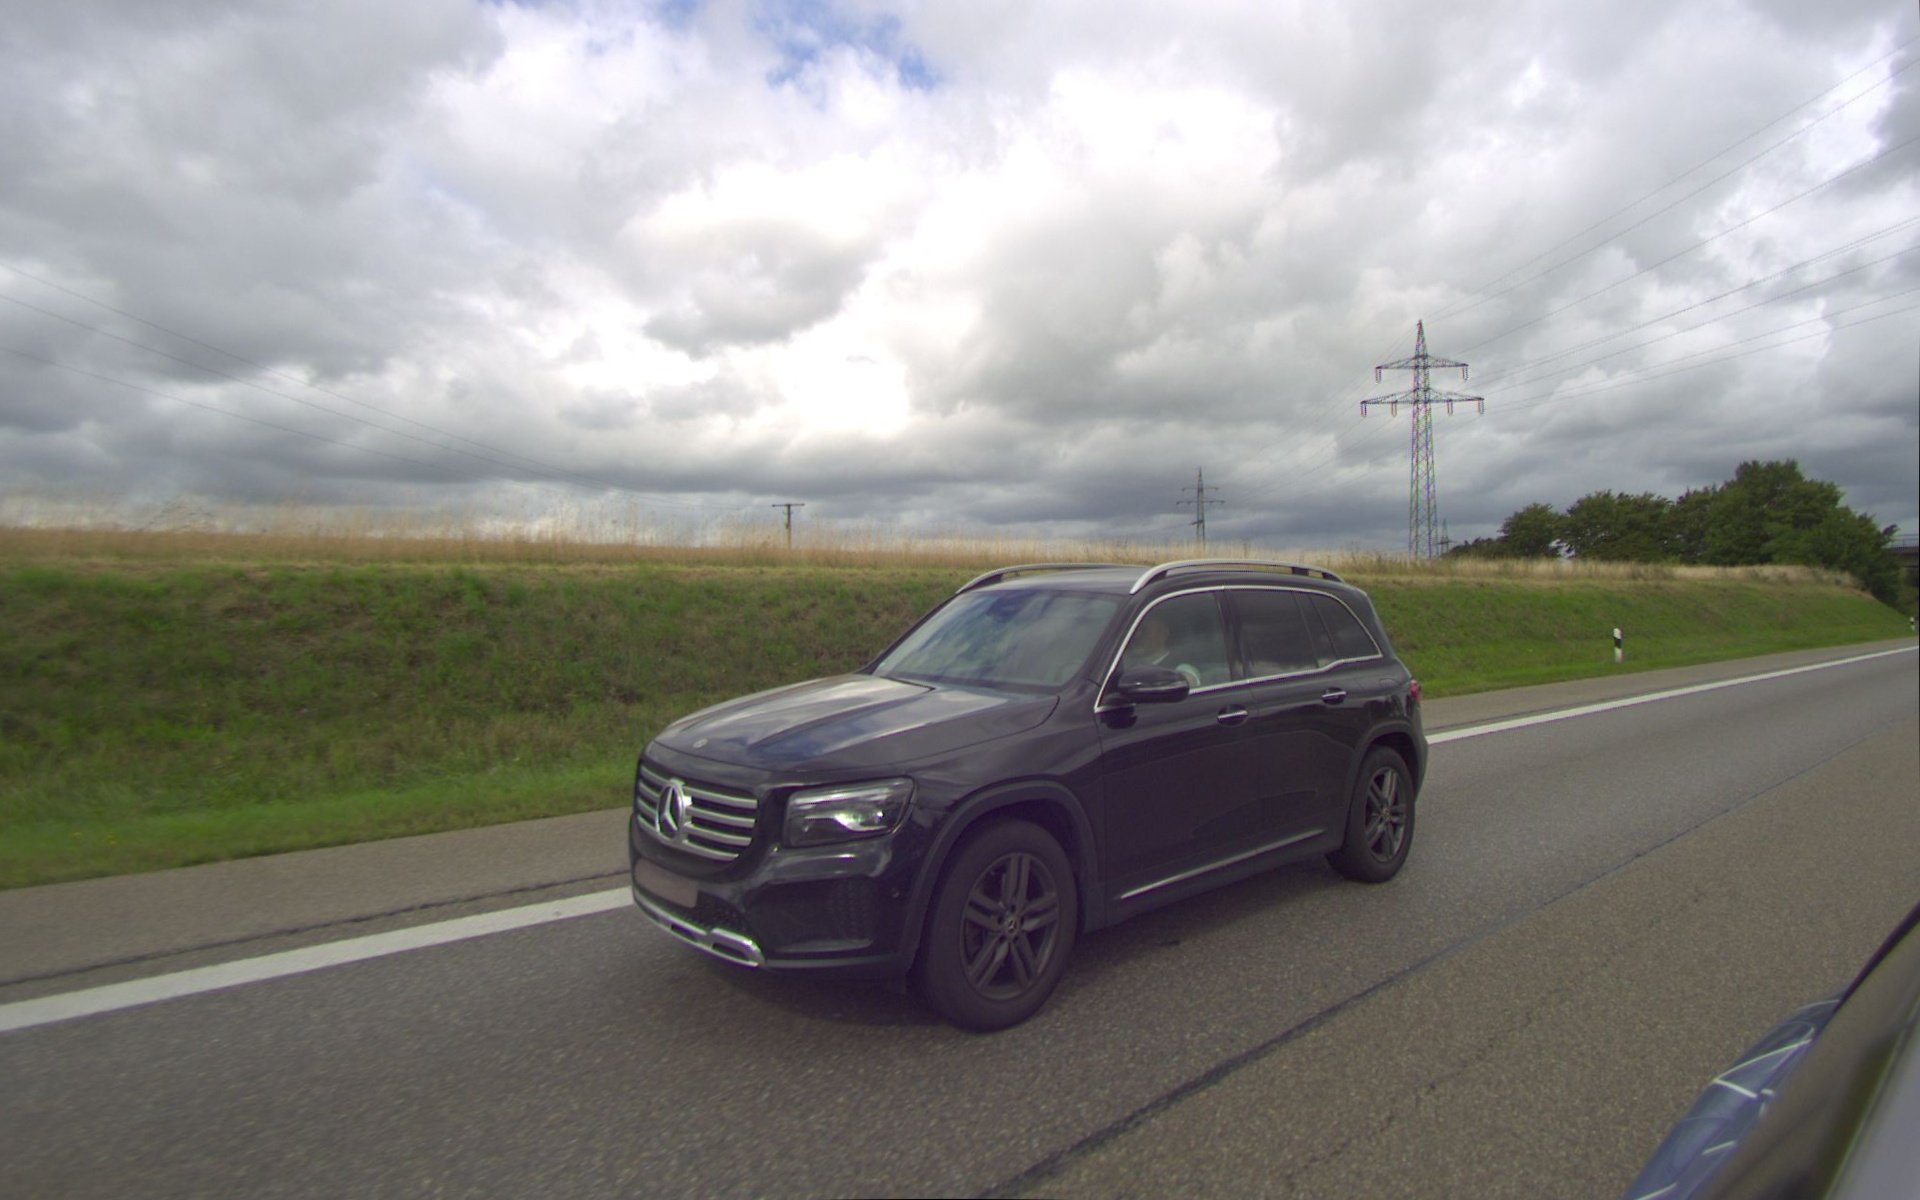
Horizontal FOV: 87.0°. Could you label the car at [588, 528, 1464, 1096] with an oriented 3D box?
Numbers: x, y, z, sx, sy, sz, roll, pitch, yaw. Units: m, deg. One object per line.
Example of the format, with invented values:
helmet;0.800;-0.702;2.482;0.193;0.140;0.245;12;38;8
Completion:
car;0.625;0.579;5.006;4.284;1.629;1.837;-1;1;-41
